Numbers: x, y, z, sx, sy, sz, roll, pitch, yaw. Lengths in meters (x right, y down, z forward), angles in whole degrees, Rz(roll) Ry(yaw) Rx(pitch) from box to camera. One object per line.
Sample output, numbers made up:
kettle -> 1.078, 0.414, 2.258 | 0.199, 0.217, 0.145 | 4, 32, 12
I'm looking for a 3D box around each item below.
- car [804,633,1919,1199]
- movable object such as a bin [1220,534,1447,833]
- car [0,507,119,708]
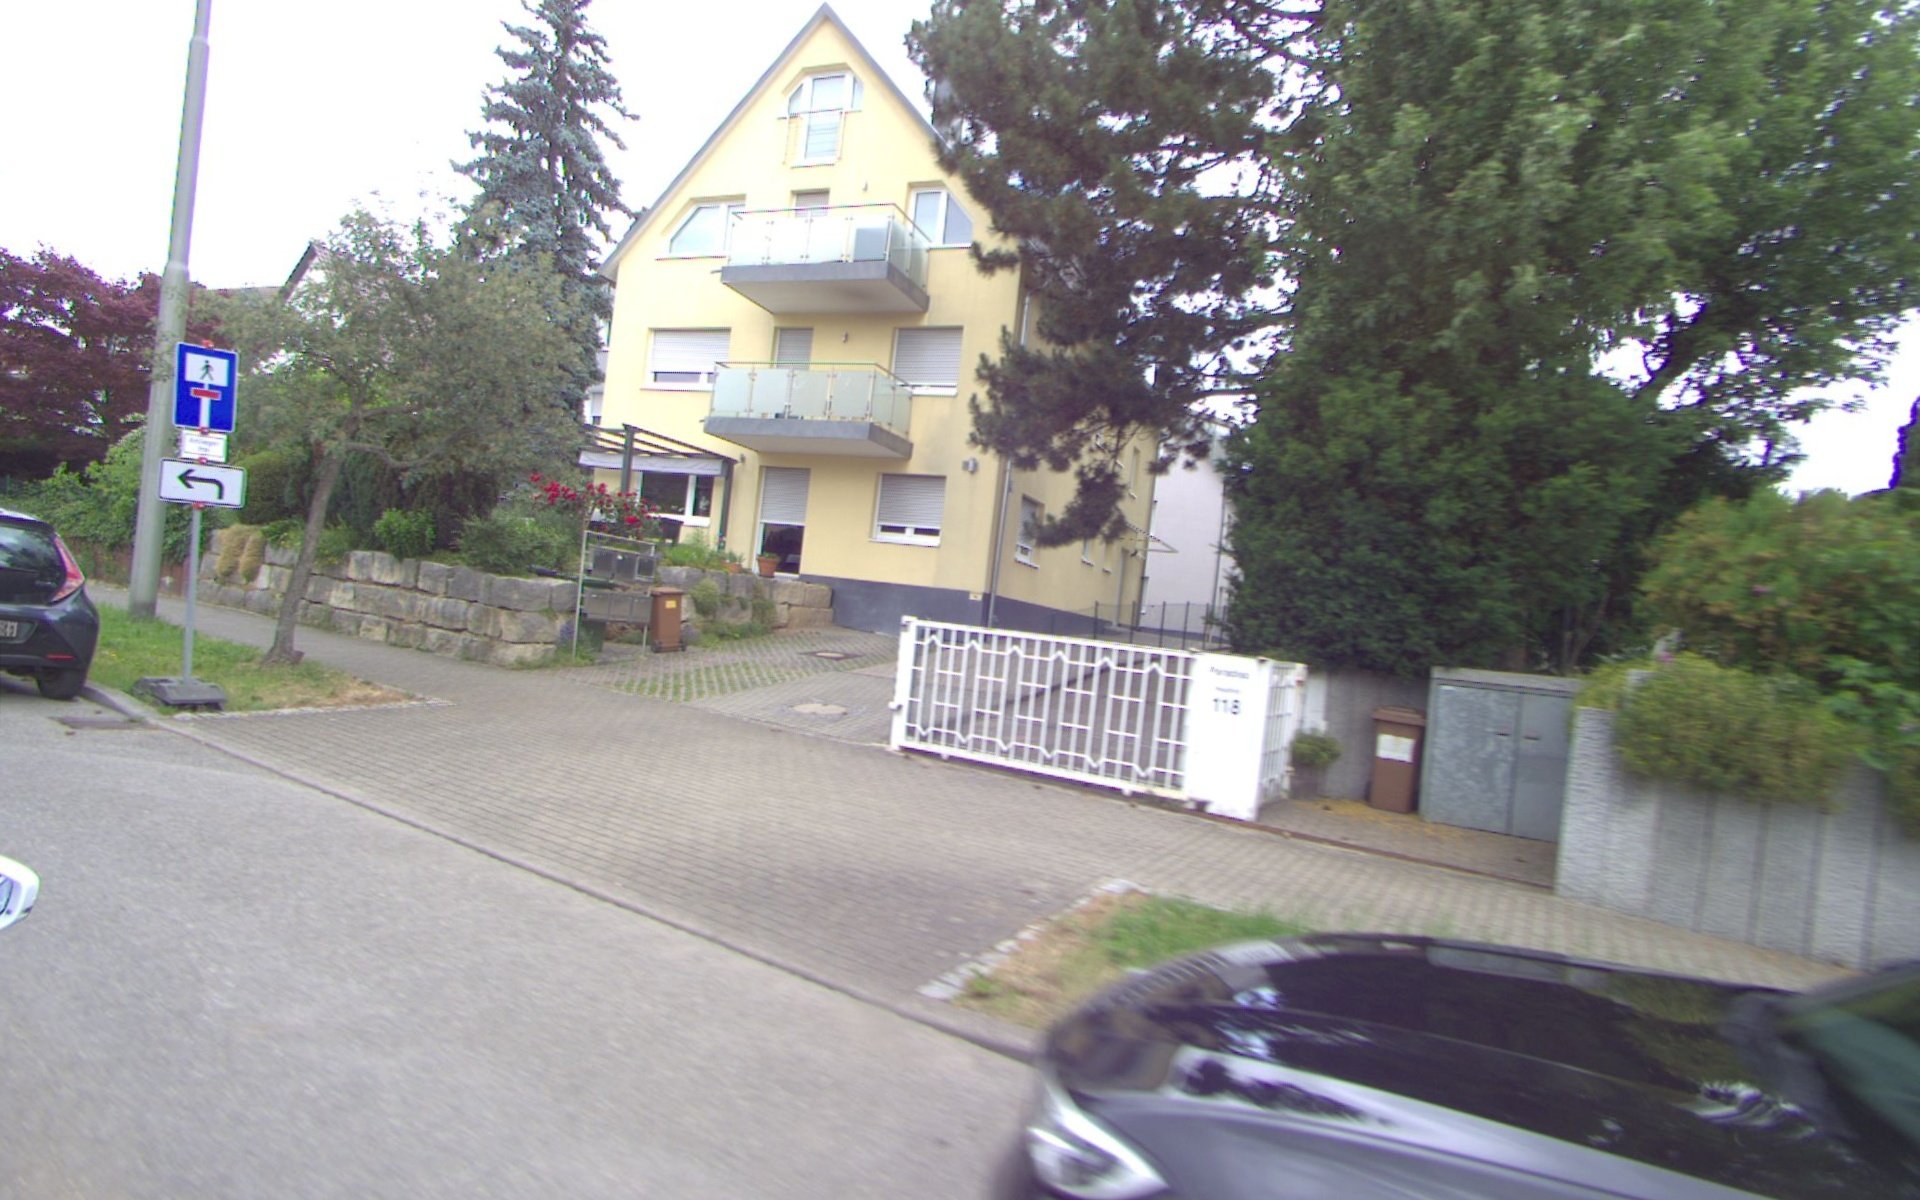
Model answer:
car -> 2.113, 1.116, 1.399 | 4.474, 1.473, 1.834 | 7, -2, 32
movable object such as a bin -> 3.226, 0.691, 8.460 | 1.320, 2.036, 2.318 | 7, -2, 27
car -> -8.555, -0.135, 8.011 | 3.446, 1.459, 1.563 | 7, -2, 28
